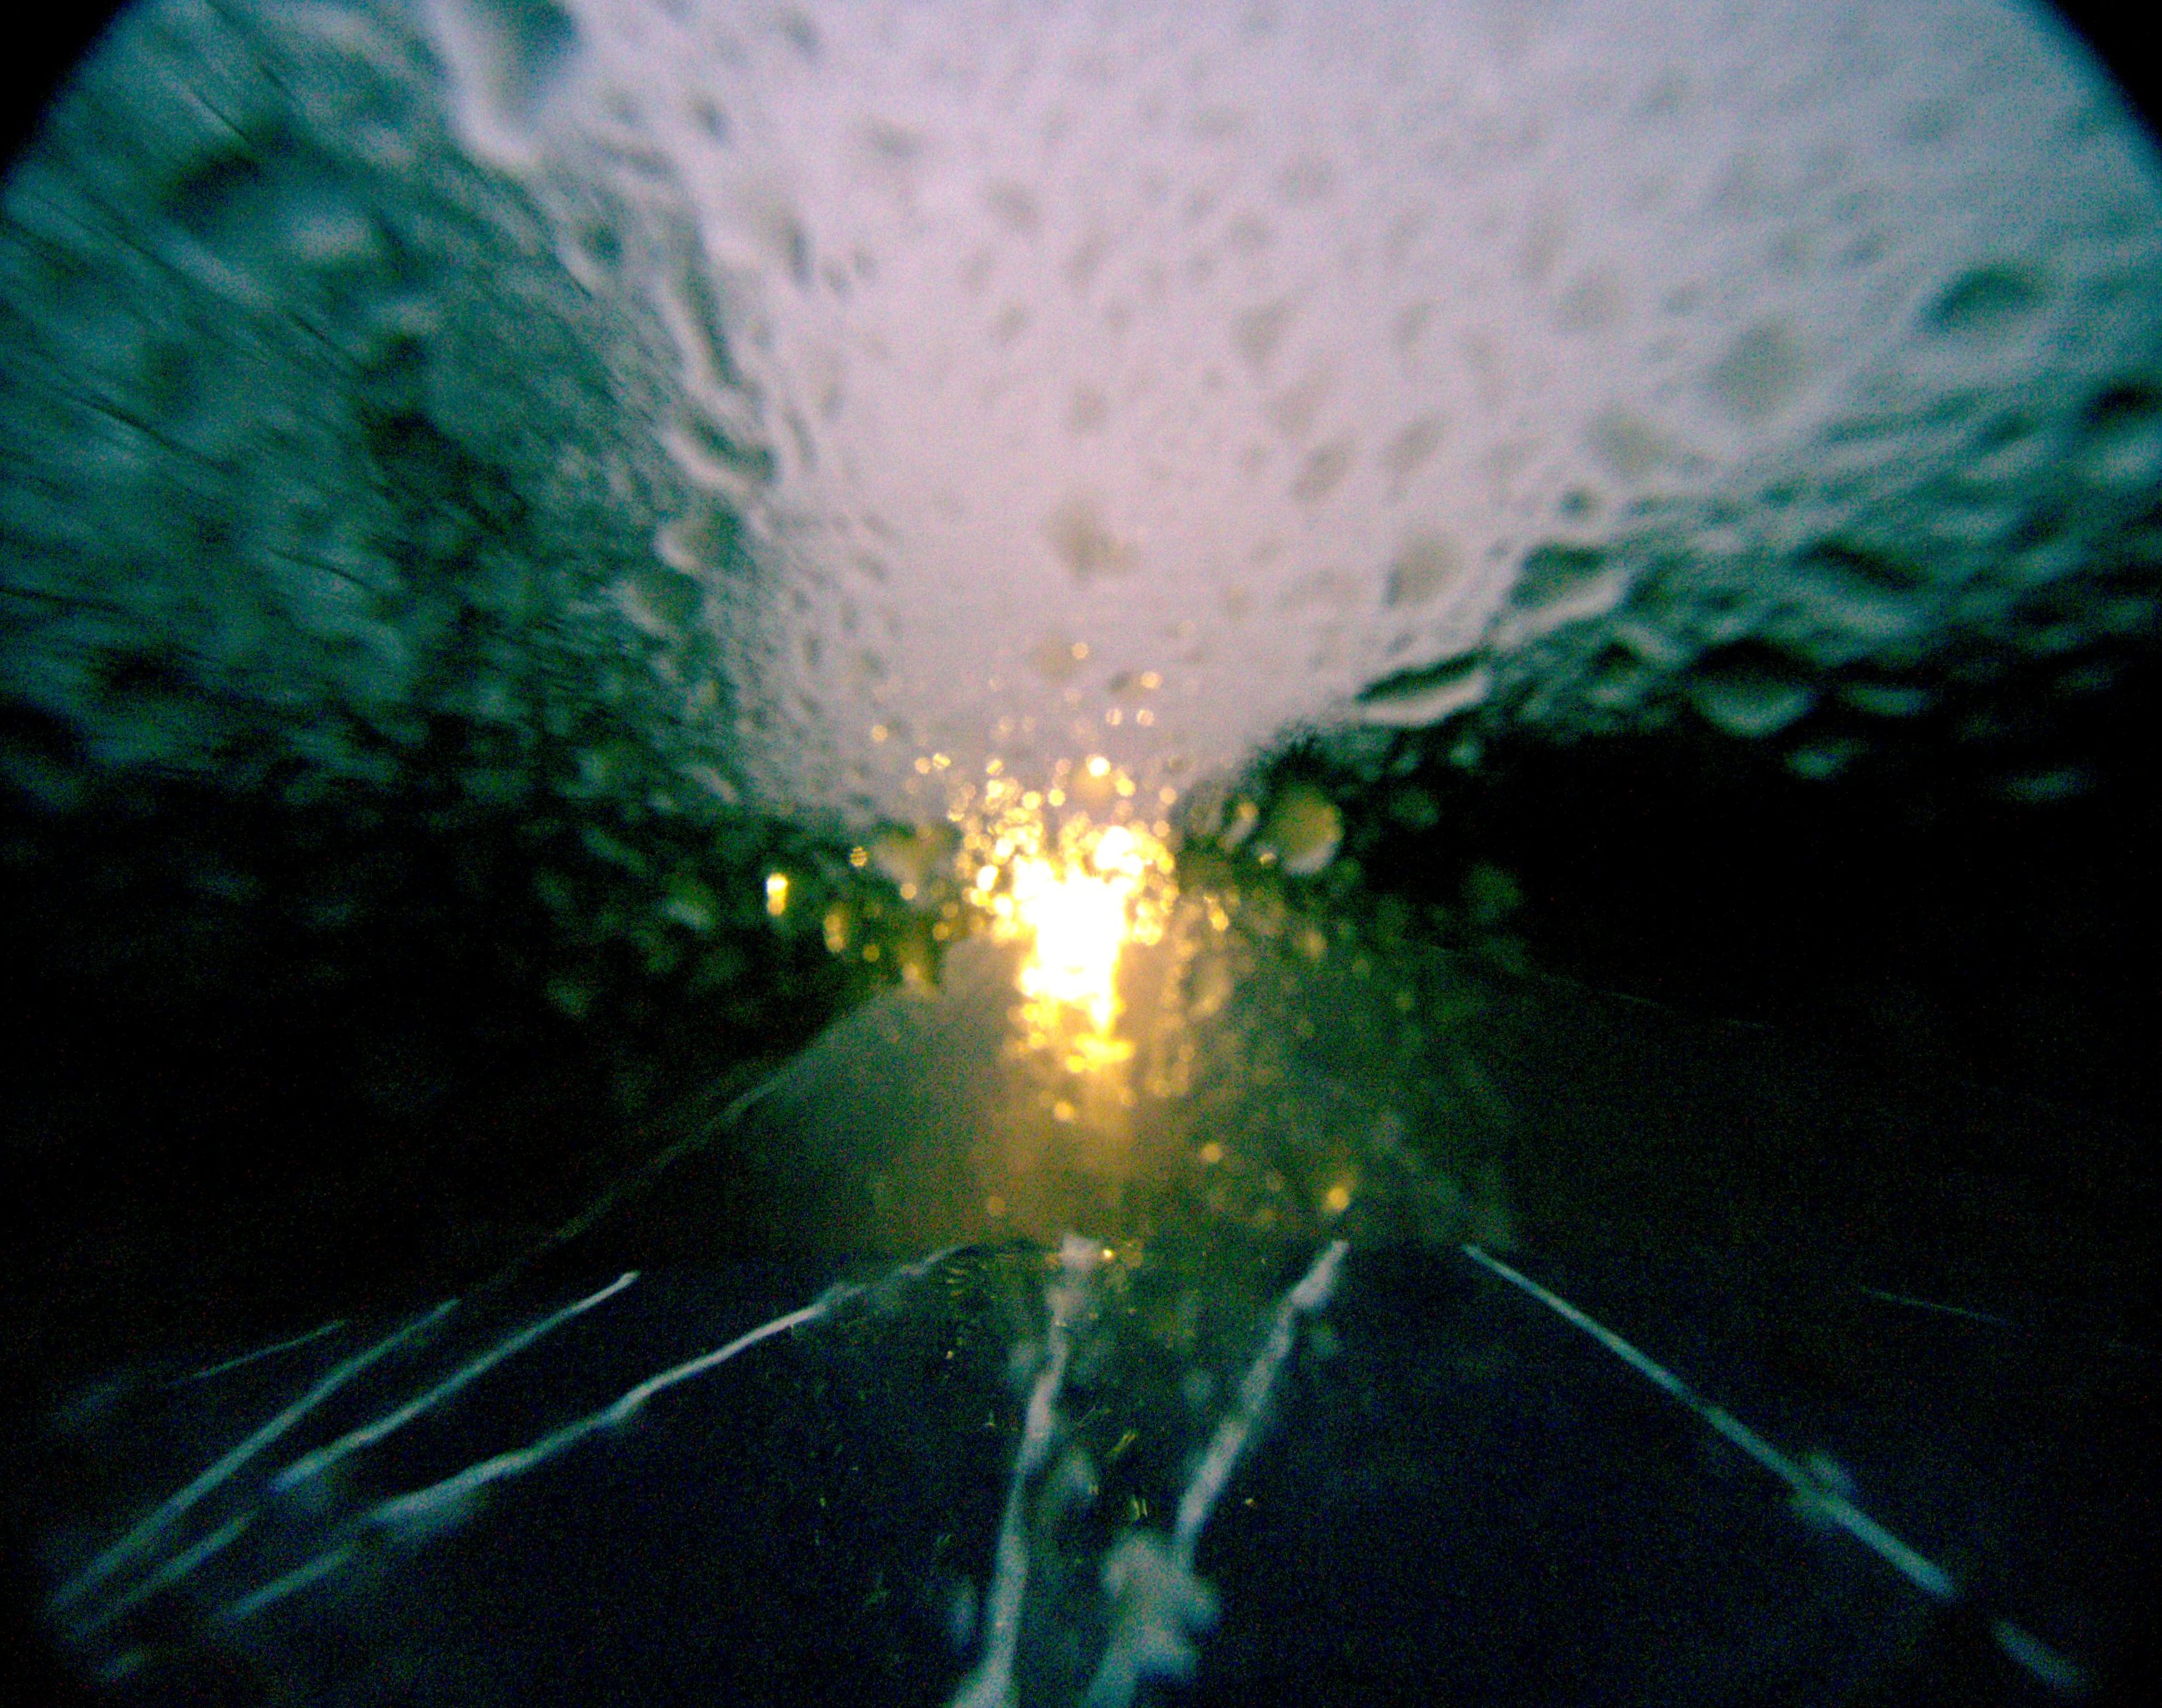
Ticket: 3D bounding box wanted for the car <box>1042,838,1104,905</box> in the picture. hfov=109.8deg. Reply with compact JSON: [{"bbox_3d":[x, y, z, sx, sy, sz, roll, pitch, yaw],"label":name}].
[{"bbox_3d":[-0.200,0.567,27.774,1.953,2.195,4.535,-2,0,3],"label":"car"}]
